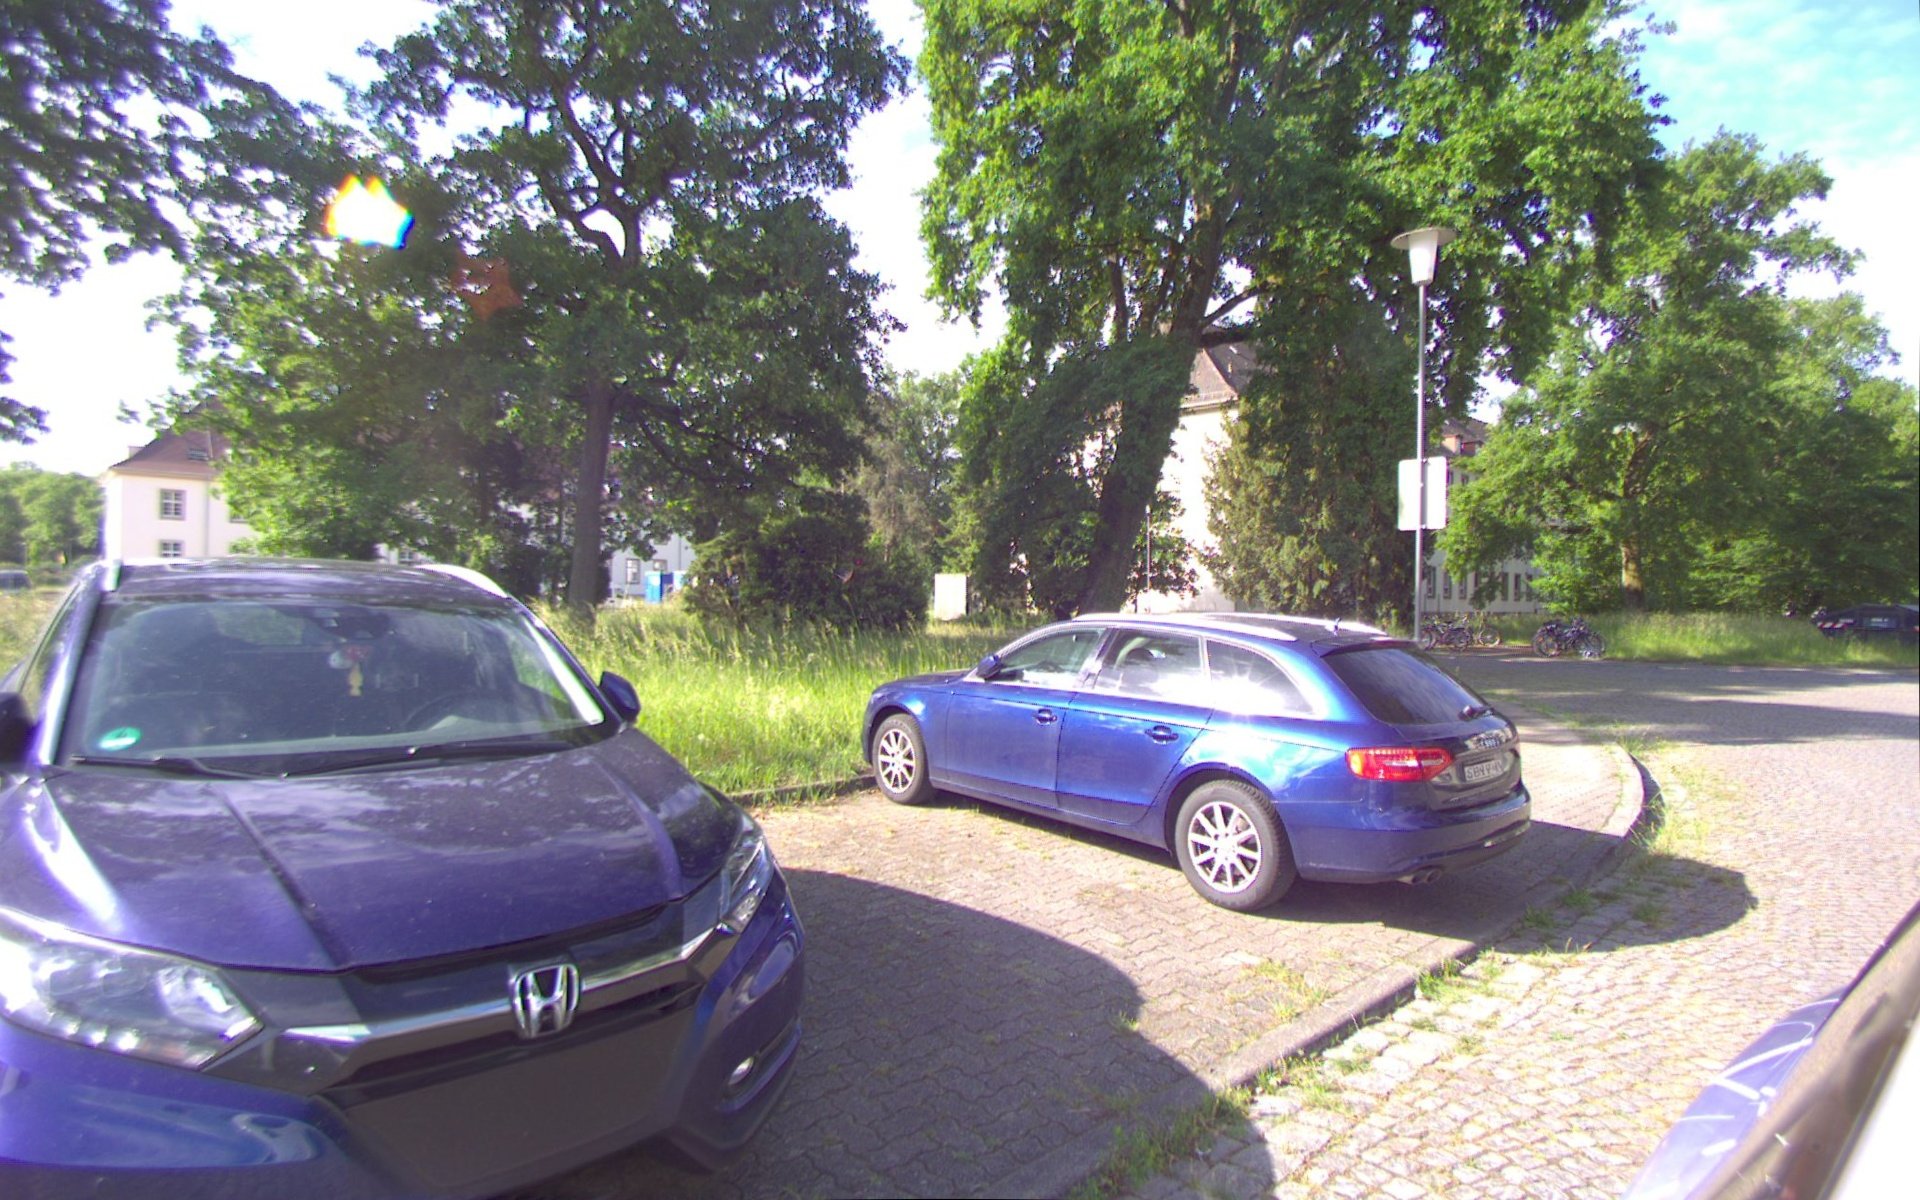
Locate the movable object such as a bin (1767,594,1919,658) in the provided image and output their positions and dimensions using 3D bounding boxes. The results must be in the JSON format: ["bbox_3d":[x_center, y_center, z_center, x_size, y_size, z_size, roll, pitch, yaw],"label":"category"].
[{"bbox_3d":[27.392,0.747,30.106,1.959,1.781,4.947,1,0,-28],"label":"movable object such as a bin"}]

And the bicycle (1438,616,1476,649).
[{"bbox_3d":[16.143,1.045,32.843,1.008,1.029,0.711,1,0,-36],"label":"bicycle"}]

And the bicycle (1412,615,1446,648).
[{"bbox_3d":[15.365,1.022,33.155,1.009,1.029,0.618,1,0,-40],"label":"bicycle"}]

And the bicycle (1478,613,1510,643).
[{"bbox_3d":[18.896,0.992,35.840,0.699,1.029,1.024,1,0,10],"label":"bicycle"}]

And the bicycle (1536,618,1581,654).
[{"bbox_3d":[17.775,1.050,30.061,1.232,1.029,0.711,1,0,-36],"label":"bicycle"}]

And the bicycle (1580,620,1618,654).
[{"bbox_3d":[18.708,1.082,29.625,0.745,0.946,1.122,1,0,44],"label":"bicycle"}]

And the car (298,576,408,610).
[{"bbox_3d":[-40.271,-0.510,67.338,5.888,2.199,2.380,0,0,-21],"label":"car"}]

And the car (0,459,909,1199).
[{"bbox_3d":[-2.177,0.588,3.473,1.722,1.611,4.181,1,0,-43],"label":"car"}]

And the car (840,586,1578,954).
[{"bbox_3d":[1.187,0.704,6.522,1.684,1.425,4.458,1,2,-41],"label":"car"}]

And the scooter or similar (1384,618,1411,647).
[{"bbox_3d":[14.346,1.063,33.188,0.767,0.941,0.257,1,0,42],"label":"scooter or similar"}]
